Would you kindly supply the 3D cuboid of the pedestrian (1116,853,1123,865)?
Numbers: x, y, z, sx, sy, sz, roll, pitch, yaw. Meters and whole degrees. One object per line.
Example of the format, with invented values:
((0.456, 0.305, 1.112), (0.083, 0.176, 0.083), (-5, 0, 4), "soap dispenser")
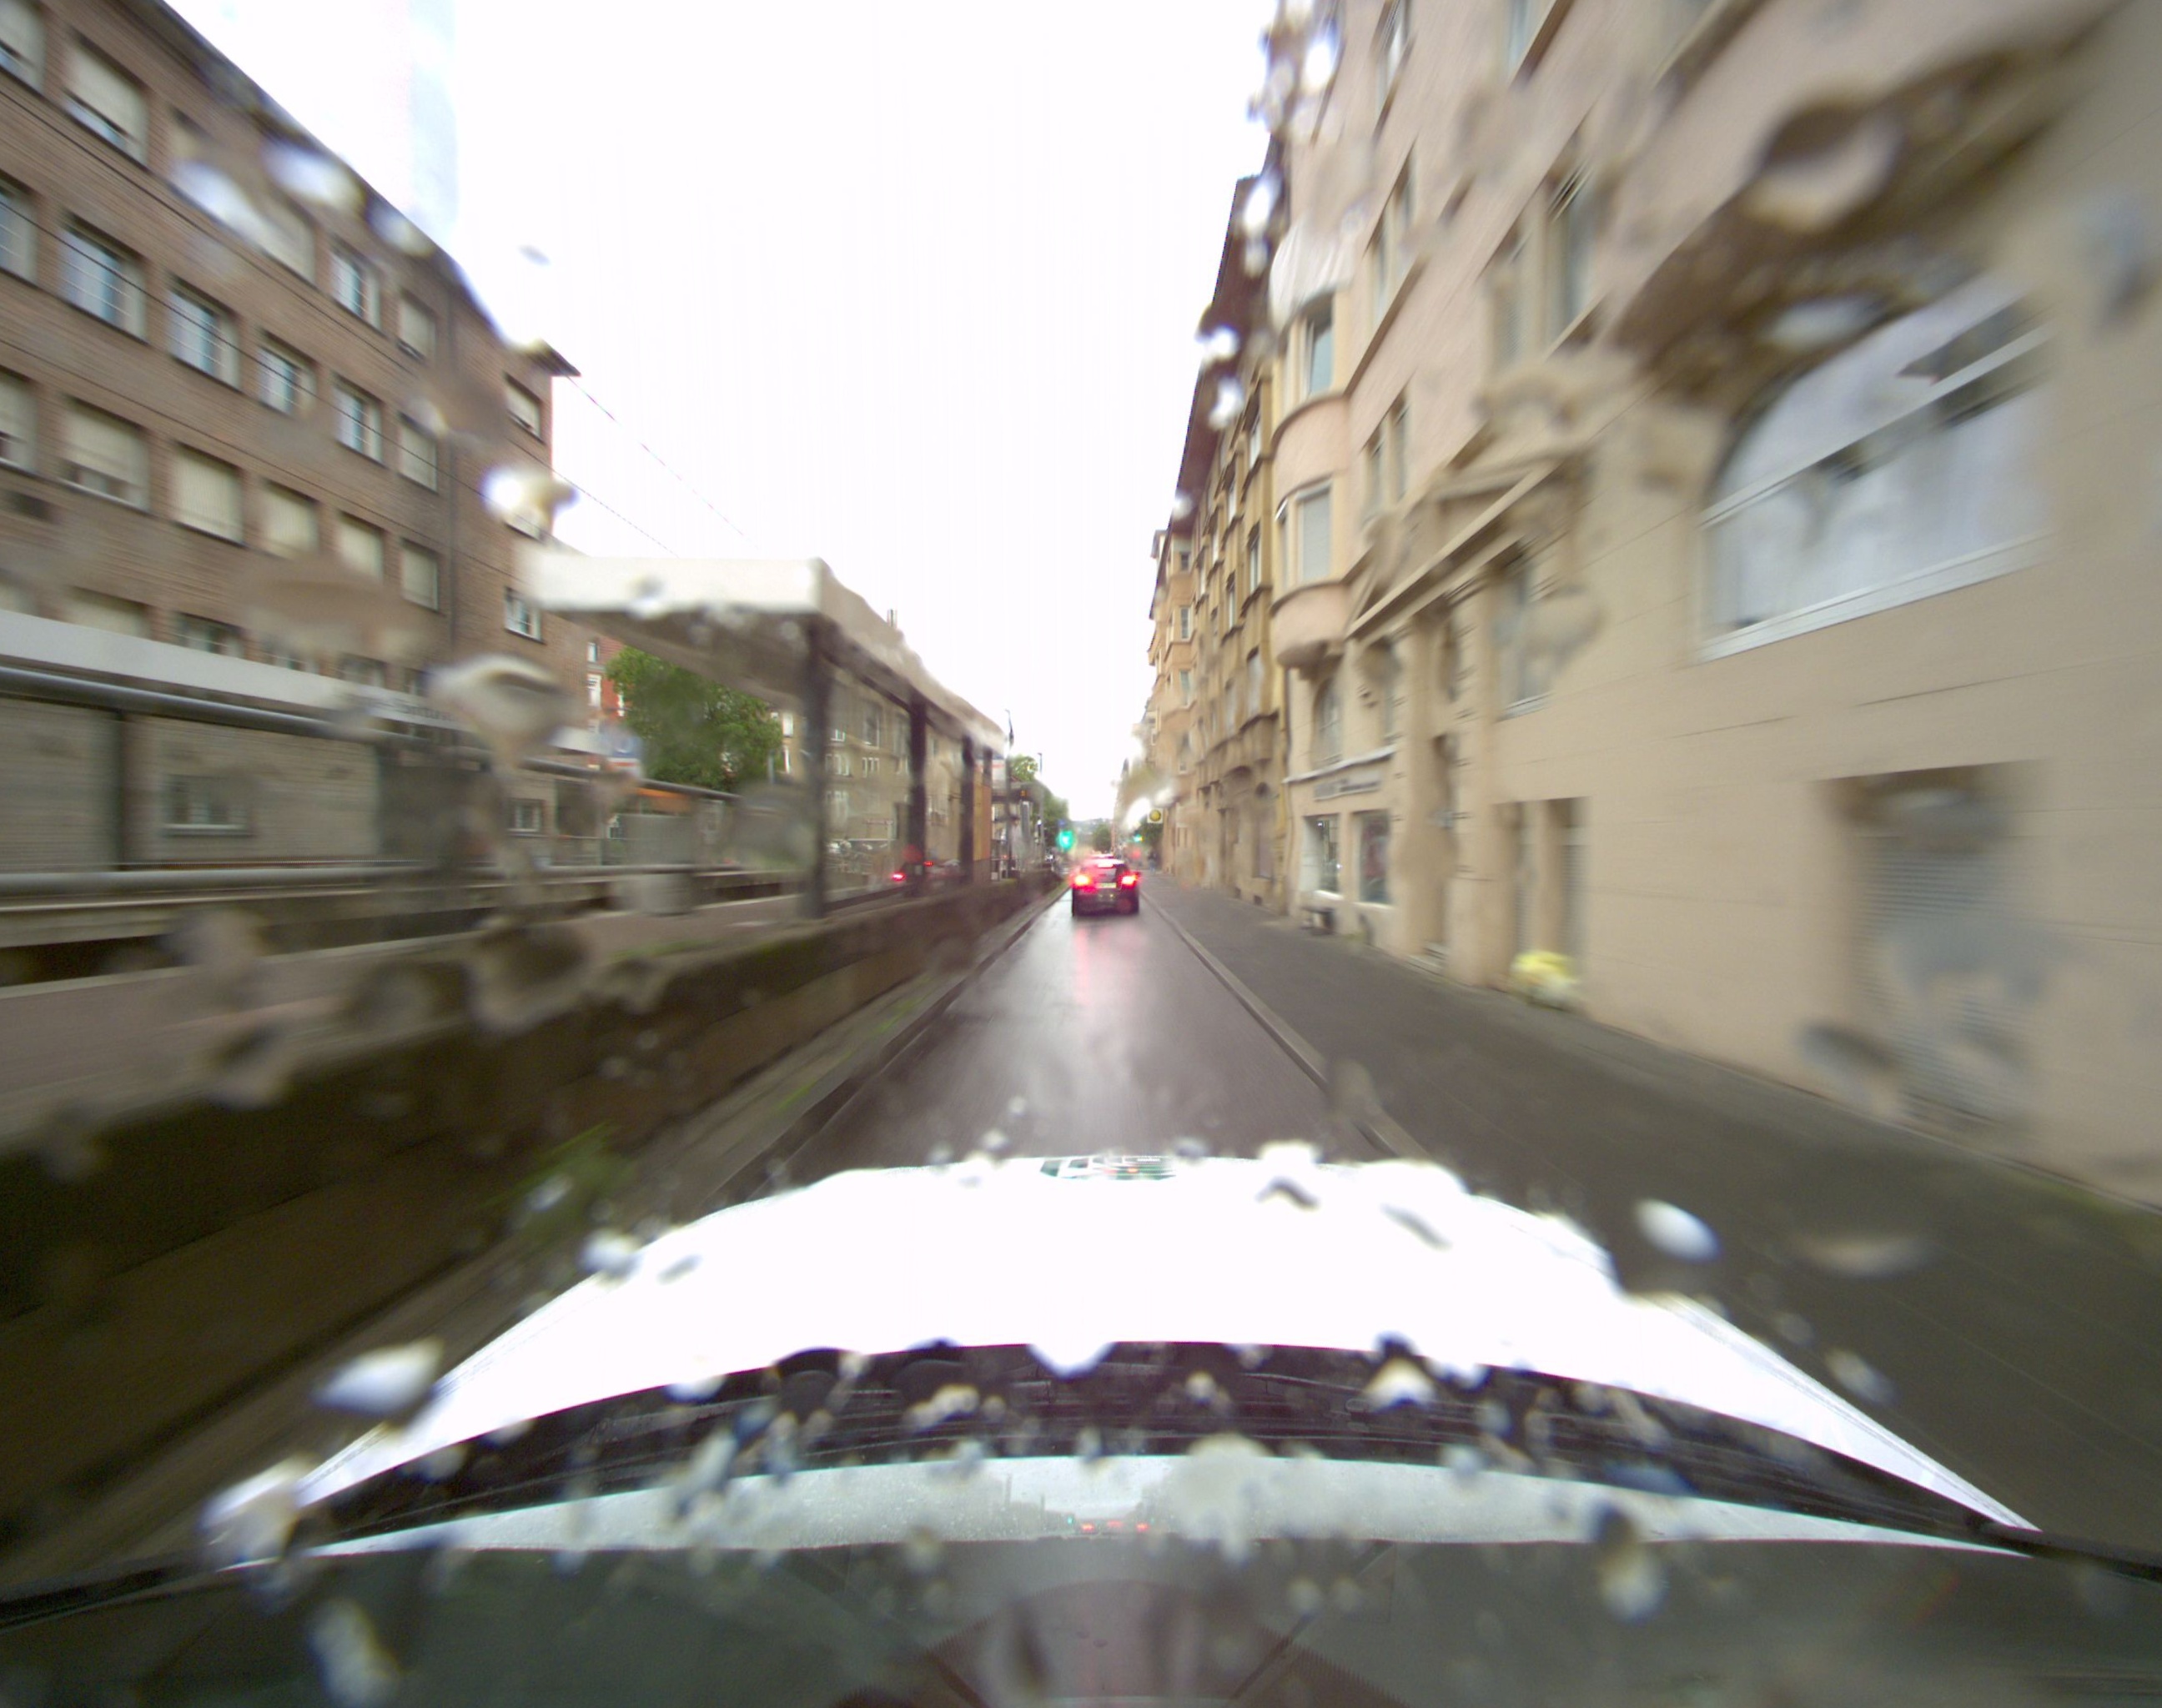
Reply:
((5.729, 0.749, 121.624), (0.942, 1.769, 1.015), (-1, 0, -1), "pedestrian")

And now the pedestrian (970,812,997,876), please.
((-2.739, -0.279, 22.912), (0.641, 1.774, 0.711), (0, 0, 1), "pedestrian")

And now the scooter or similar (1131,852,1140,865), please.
((5.264, 0.405, 78.258), (0.636, 1.210, 1.551), (-1, 0, -3), "scooter or similar")

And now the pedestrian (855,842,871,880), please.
((-10.581, 0.343, 39.557), (0.509, 1.818, 0.800), (0, 0, 2), "pedestrian")

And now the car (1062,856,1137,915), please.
((0.581, 0.783, 22.226), (1.858, 1.452, 4.003), (0, 0, 3), "car")

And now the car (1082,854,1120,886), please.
((1.004, 0.730, 38.769), (1.642, 1.452, 4.003), (0, 0, 3), "car")

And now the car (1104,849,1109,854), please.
((7.833, -0.715, 250.175), (1.607, 1.317, 4.001), (1, -1, 1), "car")

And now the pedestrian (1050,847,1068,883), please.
((-1.228, 0.614, 45.780), (0.922, 2.014, 0.948), (0, 0, 1), "pedestrian")

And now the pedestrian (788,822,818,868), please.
((-10.546, -0.326, 30.916), (0.741, 1.696, 0.883), (1, -2, 2), "pedestrian")

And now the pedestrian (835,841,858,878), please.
((-10.093, 0.227, 35.064), (0.690, 1.583, 0.956), (0, -1, 1), "pedestrian")

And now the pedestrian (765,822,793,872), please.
((-10.443, -0.253, 28.187), (0.663, 1.698, 0.688), (-2, 0, -2), "pedestrian")

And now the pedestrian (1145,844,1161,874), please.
((4.539, 0.330, 51.347), (0.895, 1.840, 0.970), (-4, -1, 6), "pedestrian")

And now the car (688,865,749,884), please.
((-28.971, 1.624, 65.161), (1.720, 1.403, 4.024), (-2, -1, 43), "car")

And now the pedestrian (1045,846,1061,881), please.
((-1.623, 0.546, 47.385), (0.893, 2.014, 0.948), (0, 0, 1), "pedestrian")

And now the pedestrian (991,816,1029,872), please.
((-2.315, -0.321, 26.713), (1.110, 1.774, 1.112), (0, 0, 1), "pedestrian")

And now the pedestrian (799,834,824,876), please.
((-10.849, 0.046, 32.815), (0.741, 1.647, 0.641), (-2, -2, 1), "pedestrian")
